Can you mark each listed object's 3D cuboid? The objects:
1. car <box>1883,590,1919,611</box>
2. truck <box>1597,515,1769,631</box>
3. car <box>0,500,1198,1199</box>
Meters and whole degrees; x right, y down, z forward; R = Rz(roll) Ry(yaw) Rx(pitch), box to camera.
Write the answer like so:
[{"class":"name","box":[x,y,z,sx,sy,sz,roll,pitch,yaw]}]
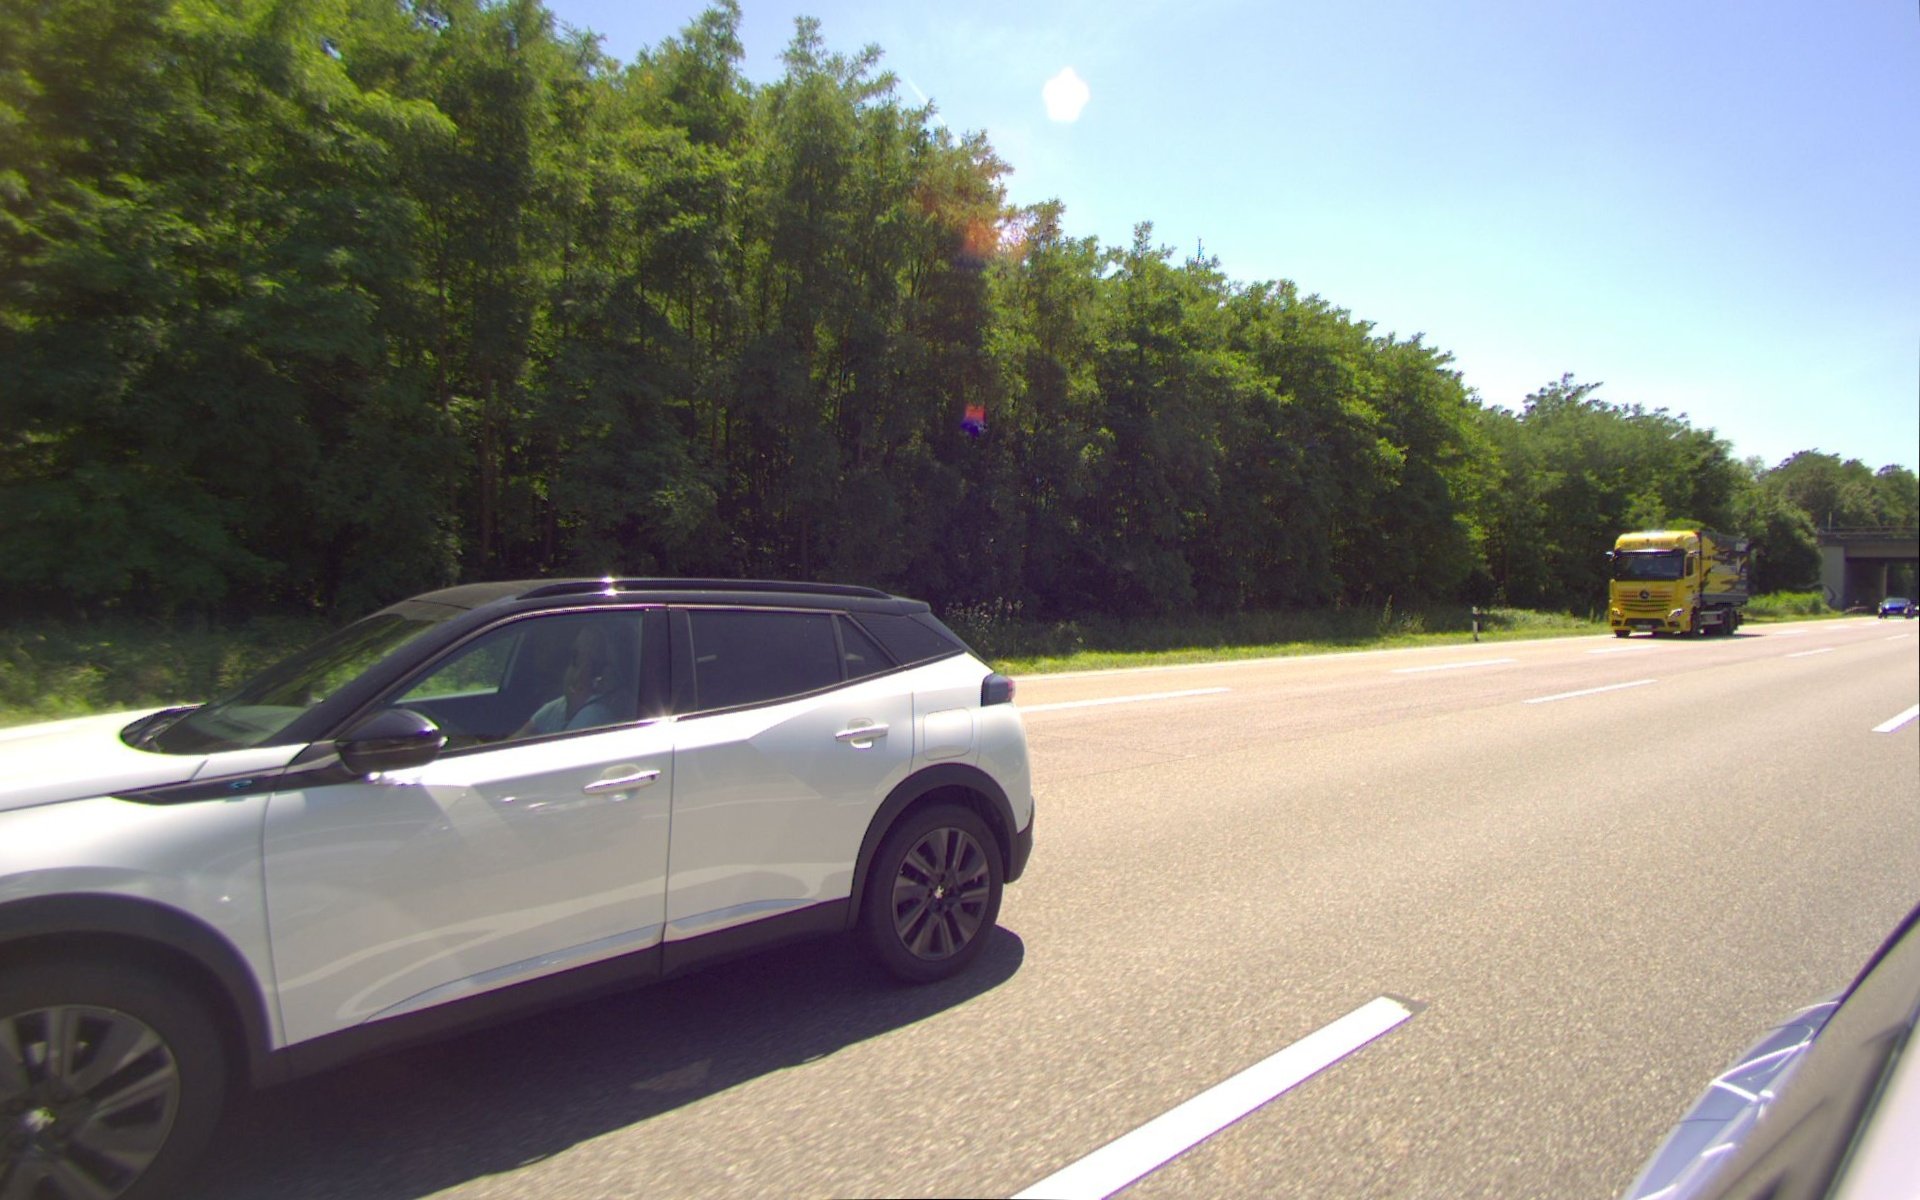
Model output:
[{"class":"car","box":[72.332,0.033,77.570,4.128,1.575,1.873,-1,0,-41]},{"class":"truck","box":[29.021,-0.978,40.340,10.787,4.088,2.980,-1,-1,-40]},{"class":"car","box":[-1.219,0.577,4.045,4.725,1.628,1.830,-1,1,-41]}]
